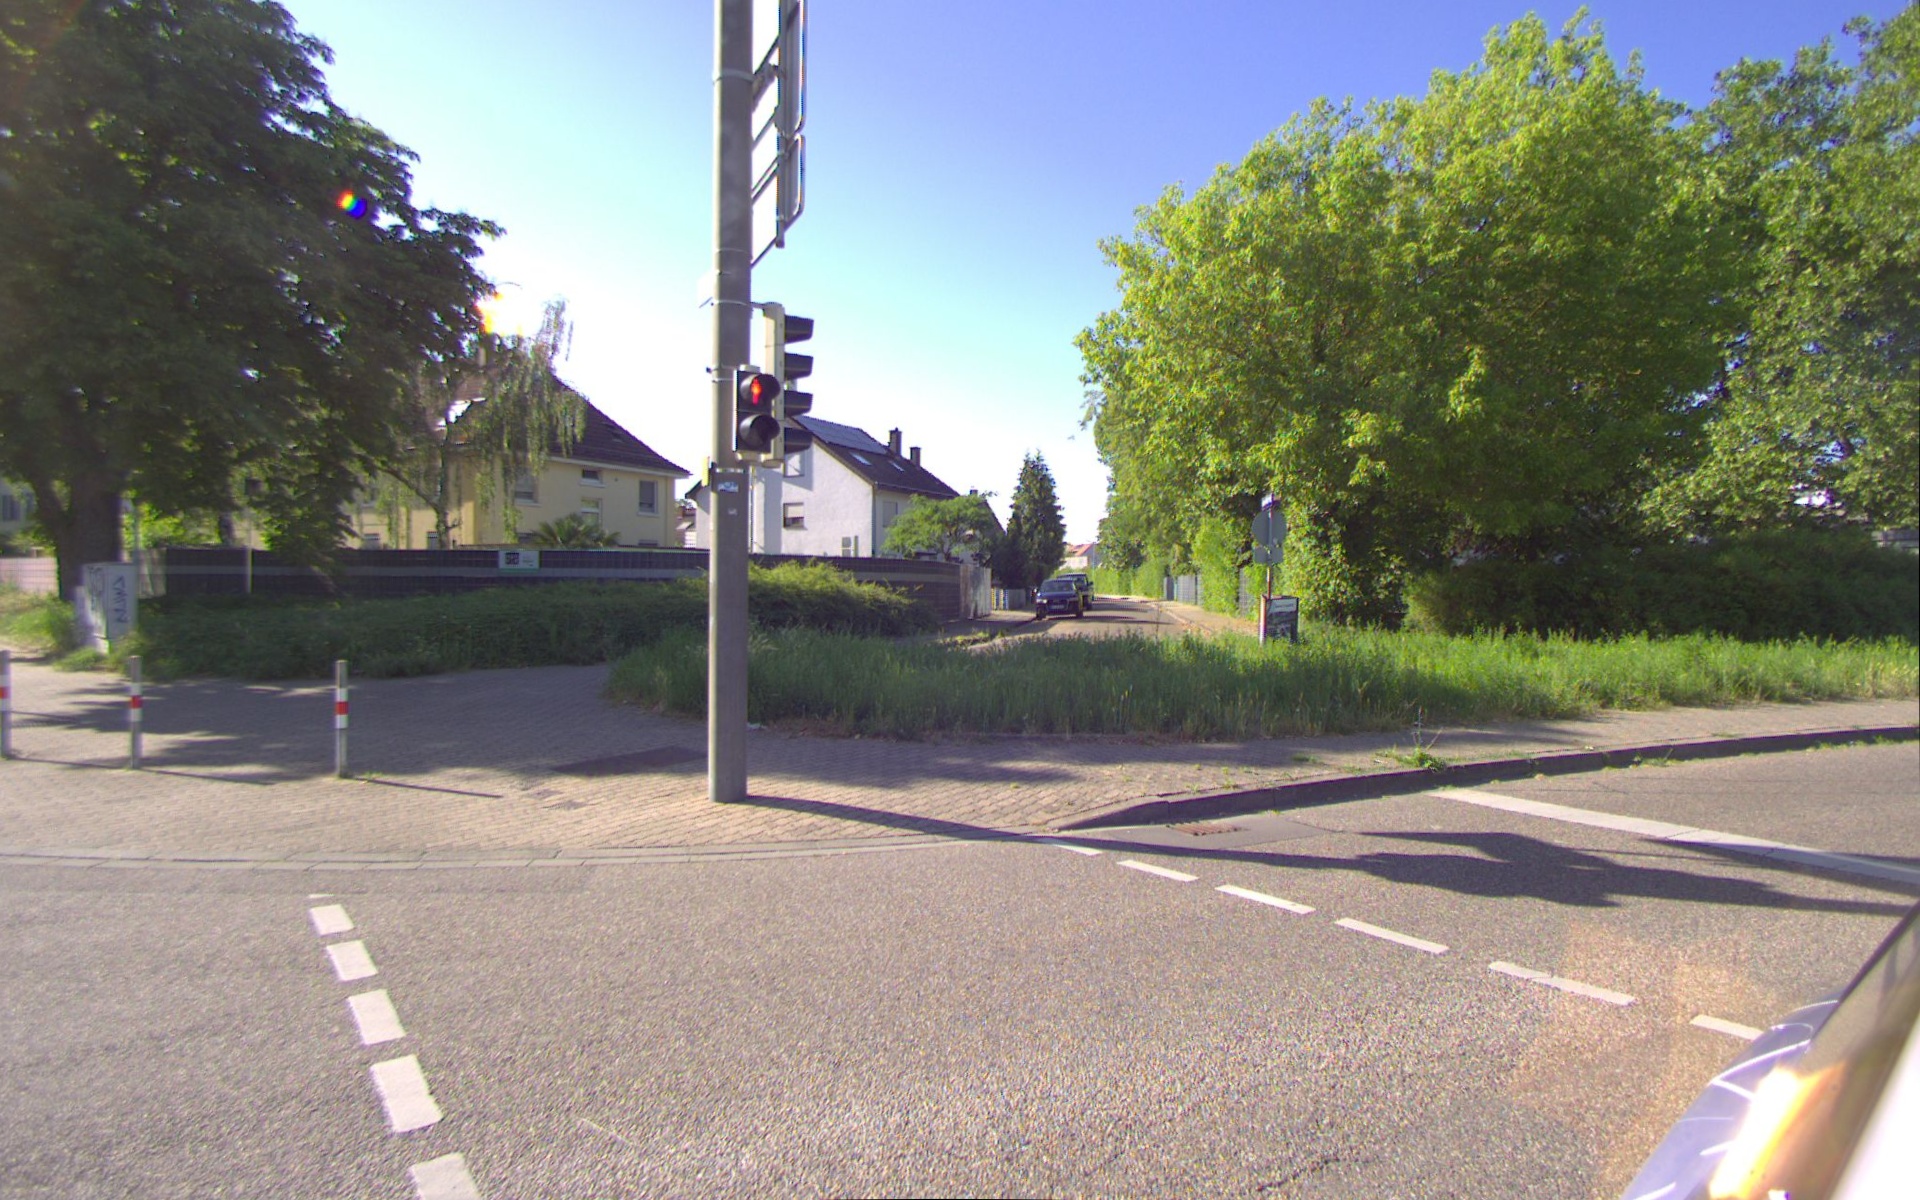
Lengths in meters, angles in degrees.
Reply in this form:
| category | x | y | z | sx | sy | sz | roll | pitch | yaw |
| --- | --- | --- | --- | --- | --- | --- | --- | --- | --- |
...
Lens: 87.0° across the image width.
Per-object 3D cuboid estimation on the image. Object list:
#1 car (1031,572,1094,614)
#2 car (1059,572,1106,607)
| category | x | y | z | sx | sy | sz | roll | pitch | yaw |
| --- | --- | --- | --- | --- | --- | --- | --- | --- | --- |
| car | 4.105 | -0.281 | 39.969 | 1.970 | 1.576 | 3.984 | -1 | 1 | 13 |
| car | 6.326 | -0.540 | 52.044 | 1.934 | 1.687 | 3.984 | -1 | 0 | 13 |
